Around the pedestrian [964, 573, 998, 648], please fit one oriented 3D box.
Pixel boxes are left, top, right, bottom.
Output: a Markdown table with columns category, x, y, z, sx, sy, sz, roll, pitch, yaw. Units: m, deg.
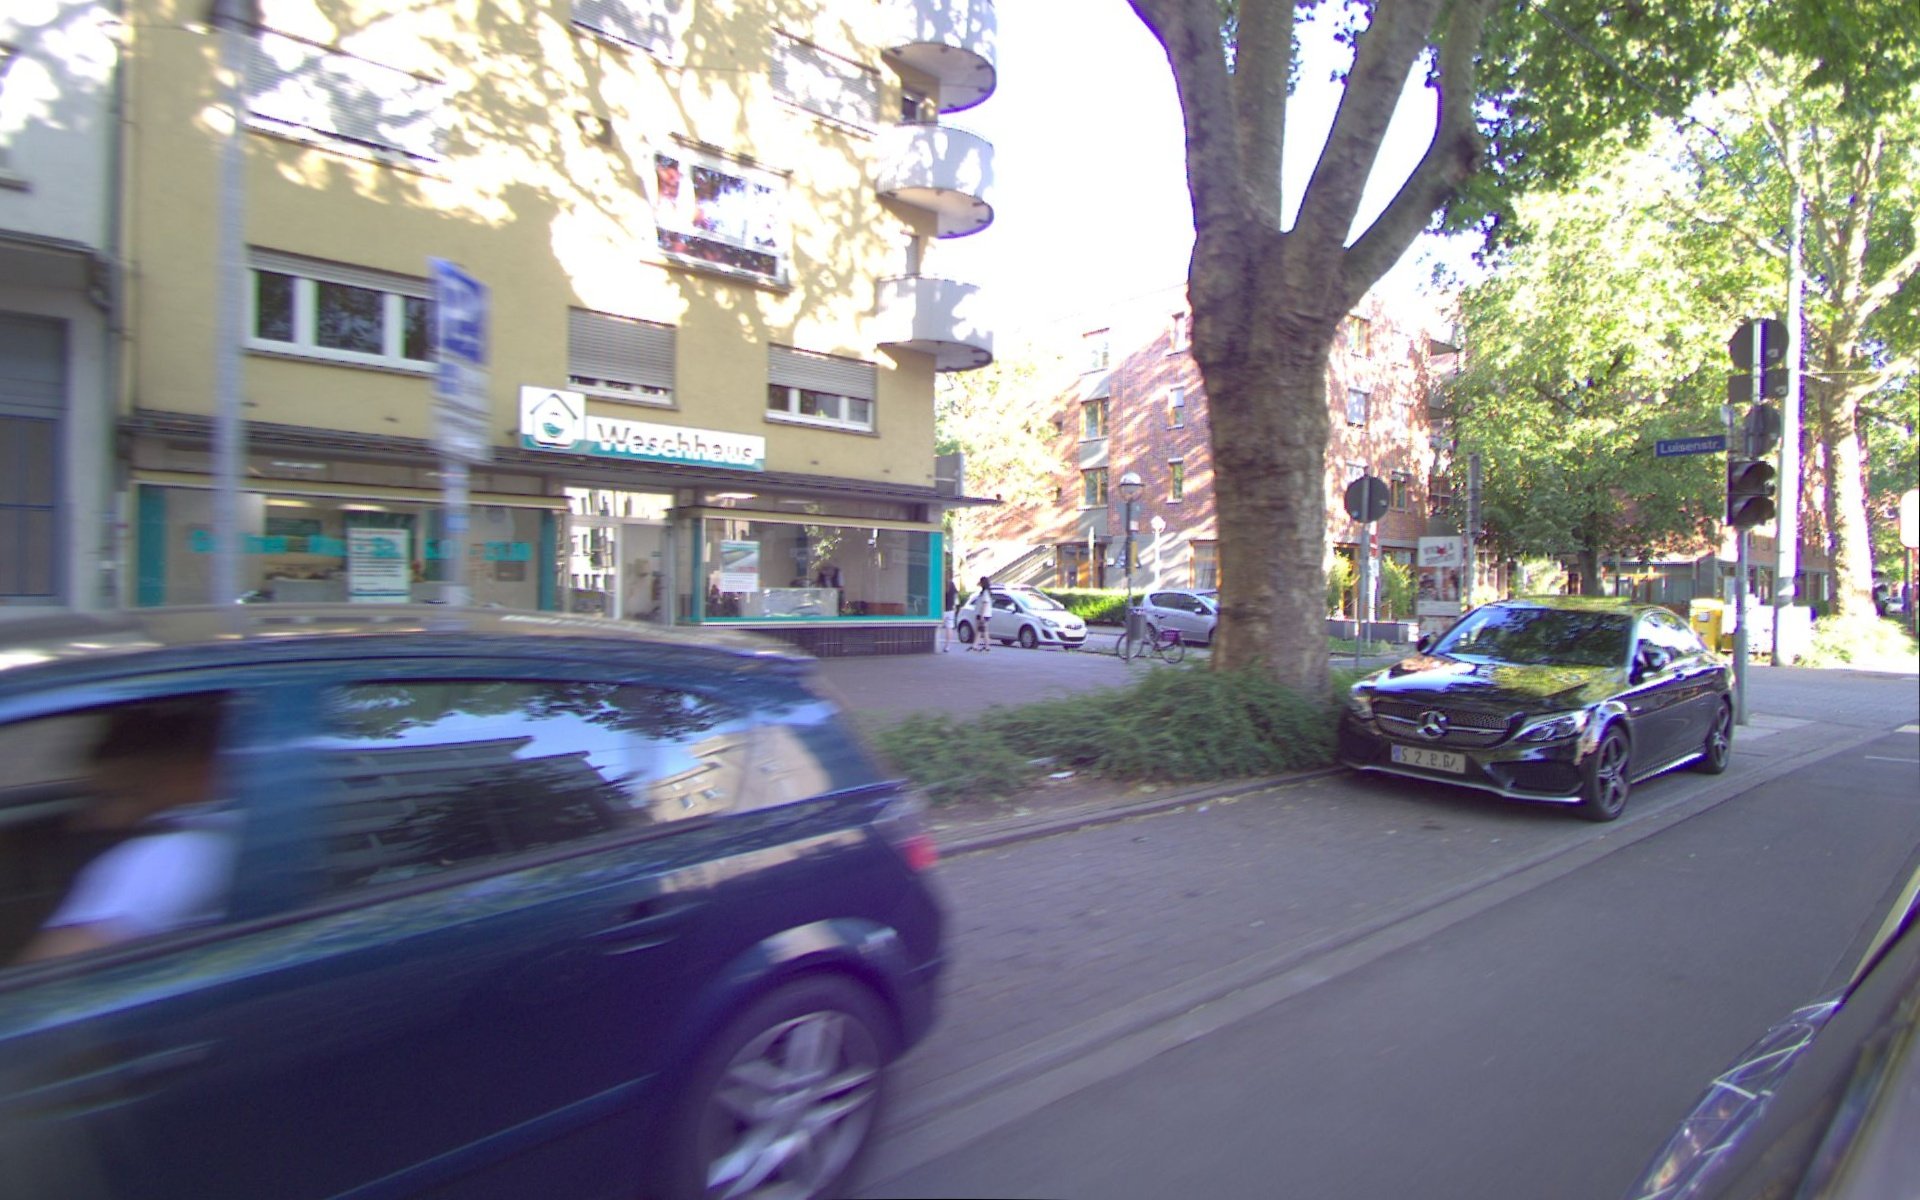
| category | x | y | z | sx | sy | sz | roll | pitch | yaw |
| --- | --- | --- | --- | --- | --- | --- | --- | --- | --- |
| pedestrian | 0.440 | 0.212 | 21.293 | 0.678 | 1.558 | 0.703 | 1 | 1 | 2 |

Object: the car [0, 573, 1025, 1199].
| category | x | y | z | sx | sy | sz | roll | pitch | yaw |
| --- | --- | --- | --- | --- | --- | --- | --- | --- | --- |
| car | -1.986 | 0.688 | 2.003 | 4.154 | 1.455 | 1.867 | 0 | 2 | -43 |

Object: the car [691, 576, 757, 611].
| category | x | y | z | sx | sy | sz | roll | pitch | yaw |
| --- | --- | --- | --- | --- | --- | --- | --- | --- | --- |
| car | -12.348 | -0.362 | 52.820 | 1.832 | 1.714 | 3.871 | 0 | 1 | -39 |

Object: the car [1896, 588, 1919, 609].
| category | x | y | z | sx | sy | sz | roll | pitch | yaw |
| --- | --- | --- | --- | --- | --- | --- | --- | --- | --- |
| car | 70.241 | -0.113 | 74.287 | 3.890 | 1.527 | 1.657 | 0 | 1 | -39 |

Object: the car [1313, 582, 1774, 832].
| category | x | y | z | sx | sy | sz | roll | pitch | yaw |
| --- | --- | --- | --- | --- | --- | --- | --- | --- | --- |
| car | 5.013 | 0.614 | 8.322 | 4.924 | 1.480 | 1.768 | 0 | 1 | -41 |

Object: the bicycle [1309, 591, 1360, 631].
| category | x | y | z | sx | sy | sz | roll | pitch | yaw |
| --- | --- | --- | --- | --- | --- | --- | --- | --- | --- |
| bicycle | 11.405 | 0.331 | 30.829 | 1.666 | 1.171 | 0.602 | 0 | 2 | -36 |

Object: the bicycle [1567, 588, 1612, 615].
| category | x | y | z | sx | sy | sz | roll | pitch | yaw |
| --- | --- | --- | --- | --- | --- | --- | --- | --- | --- |
| bicycle | 29.281 | 0.044 | 47.083 | 0.561 | 1.171 | 1.684 | 0 | 2 | -33 |

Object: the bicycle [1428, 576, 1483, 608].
| category | x | y | z | sx | sy | sz | roll | pitch | yaw |
| --- | --- | --- | --- | --- | --- | --- | --- | --- | --- |
| bicycle | 18.885 | -0.317 | 38.608 | 0.560 | 1.171 | 1.939 | 1 | 2 | -23 |

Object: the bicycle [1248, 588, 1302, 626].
| category | x | y | z | sx | sy | sz | roll | pitch | yaw |
| --- | --- | --- | --- | --- | --- | --- | --- | --- | --- |
| bicycle | 10.251 | 0.219 | 32.919 | 1.945 | 1.171 | 0.638 | 0 | 2 | -37 |

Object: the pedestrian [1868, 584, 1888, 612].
| category | x | y | z | sx | sy | sz | roll | pitch | yaw |
| --- | --- | --- | --- | --- | --- | --- | --- | --- | --- |
| pedestrian | 55.809 | -0.116 | 61.540 | 0.900 | 1.680 | 0.768 | 0 | 1 | -39 |

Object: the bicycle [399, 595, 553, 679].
| category | x | y | z | sx | sy | sz | roll | pitch | yaw |
| --- | --- | --- | --- | --- | --- | --- | --- | --- | --- |
| bicycle | -6.406 | 0.457 | 13.454 | 1.751 | 1.009 | 0.571 | -1 | 3 | -44 |

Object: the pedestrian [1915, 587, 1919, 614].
| category | x | y | z | sx | sy | sz | roll | pitch | yaw |
| --- | --- | --- | --- | --- | --- | --- | --- | --- | --- |
| pedestrian | 61.580 | 0.012 | 64.656 | 0.735 | 1.712 | 0.710 | 0 | 1 | -40 |

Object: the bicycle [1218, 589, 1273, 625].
| category | x | y | z | sx | sy | sz | roll | pitch | yaw |
| --- | --- | --- | --- | --- | --- | --- | --- | --- | --- |
| bicycle | 9.628 | 0.222 | 34.082 | 2.014 | 1.171 | 0.732 | 0 | 3 | -39 |

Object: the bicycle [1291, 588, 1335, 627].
| category | x | y | z | sx | sy | sz | roll | pitch | yaw |
| --- | --- | --- | --- | --- | --- | --- | --- | --- | --- |
| bicycle | 11.202 | 0.217 | 32.084 | 1.669 | 1.171 | 0.600 | -1 | 3 | -44 |

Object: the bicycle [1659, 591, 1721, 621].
| category | x | y | z | sx | sy | sz | roll | pitch | yaw |
| --- | --- | --- | --- | --- | --- | --- | --- | --- | --- |
| bicycle | 31.205 | 0.254 | 43.275 | 0.561 | 1.171 | 2.037 | 0 | 3 | -38 |

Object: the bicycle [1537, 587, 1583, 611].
| category | x | y | z | sx | sy | sz | roll | pitch | yaw |
| --- | --- | --- | --- | --- | --- | --- | --- | --- | --- |
| bicycle | 31.099 | -0.074 | 52.475 | 1.931 | 1.171 | 0.727 | 3 | 2 | 26 |

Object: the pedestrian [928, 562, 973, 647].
| category | x | y | z | sx | sy | sz | roll | pitch | yaw |
| --- | --- | --- | --- | --- | --- | --- | --- | --- | --- |
| pedestrian | -0.187 | 0.080 | 20.645 | 0.695 | 1.703 | 0.656 | 1 | 1 | 24 |

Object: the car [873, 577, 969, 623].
| category | x | y | z | sx | sy | sz | roll | pitch | yaw |
| --- | --- | --- | --- | --- | --- | --- | --- | --- | --- |
| car | -1.582 | -0.038 | 39.656 | 1.832 | 1.714 | 3.871 | 0 | 1 | -39 |

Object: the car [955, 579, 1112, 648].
| category | x | y | z | sx | sy | sz | roll | pitch | yaw |
| --- | --- | --- | --- | --- | --- | --- | --- | --- | --- |
| car | 1.809 | 0.309 | 25.968 | 1.832 | 1.572 | 3.871 | 3 | -1 | -39 |

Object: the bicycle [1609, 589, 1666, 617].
| category | x | y | z | sx | sy | sz | roll | pitch | yaw |
| --- | --- | --- | --- | --- | --- | --- | --- | --- | --- |
| bicycle | 30.462 | 0.123 | 45.507 | 0.561 | 1.171 | 2.039 | 0 | 2 | -33 |

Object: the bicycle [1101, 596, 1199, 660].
| category | x | y | z | sx | sy | sz | roll | pitch | yaw |
| --- | --- | --- | --- | --- | --- | --- | --- | --- | --- |
| bicycle | 3.832 | 0.541 | 20.421 | 1.782 | 1.171 | 0.738 | 3 | 2 | 30 |

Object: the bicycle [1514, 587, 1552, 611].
| category | x | y | z | sx | sy | sz | roll | pitch | yaw |
| --- | --- | --- | --- | --- | --- | --- | --- | --- | --- |
| bicycle | 28.809 | -0.059 | 50.843 | 1.997 | 1.171 | 0.709 | 0 | 2 | -30 |

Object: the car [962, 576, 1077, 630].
| category | x | y | z | sx | sy | sz | roll | pitch | yaw |
| --- | --- | --- | --- | --- | --- | --- | --- | --- | --- |
| car | 2.003 | 0.059 | 34.785 | 1.832 | 1.714 | 3.871 | 0 | 1 | -39 |

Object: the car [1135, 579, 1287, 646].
| category | x | y | z | sx | sy | sz | roll | pitch | yaw |
| --- | --- | --- | --- | --- | --- | --- | --- | --- | --- |
| car | 7.032 | 0.297 | 28.679 | 1.832 | 1.714 | 3.871 | 0 | 1 | -39 |

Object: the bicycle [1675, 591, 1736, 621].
| category | x | y | z | sx | sy | sz | roll | pitch | yaw |
| --- | --- | --- | --- | --- | --- | --- | --- | --- | --- |
| bicycle | 32.077 | 0.229 | 43.562 | 0.560 | 1.171 | 2.041 | 0 | 2 | -28 |
